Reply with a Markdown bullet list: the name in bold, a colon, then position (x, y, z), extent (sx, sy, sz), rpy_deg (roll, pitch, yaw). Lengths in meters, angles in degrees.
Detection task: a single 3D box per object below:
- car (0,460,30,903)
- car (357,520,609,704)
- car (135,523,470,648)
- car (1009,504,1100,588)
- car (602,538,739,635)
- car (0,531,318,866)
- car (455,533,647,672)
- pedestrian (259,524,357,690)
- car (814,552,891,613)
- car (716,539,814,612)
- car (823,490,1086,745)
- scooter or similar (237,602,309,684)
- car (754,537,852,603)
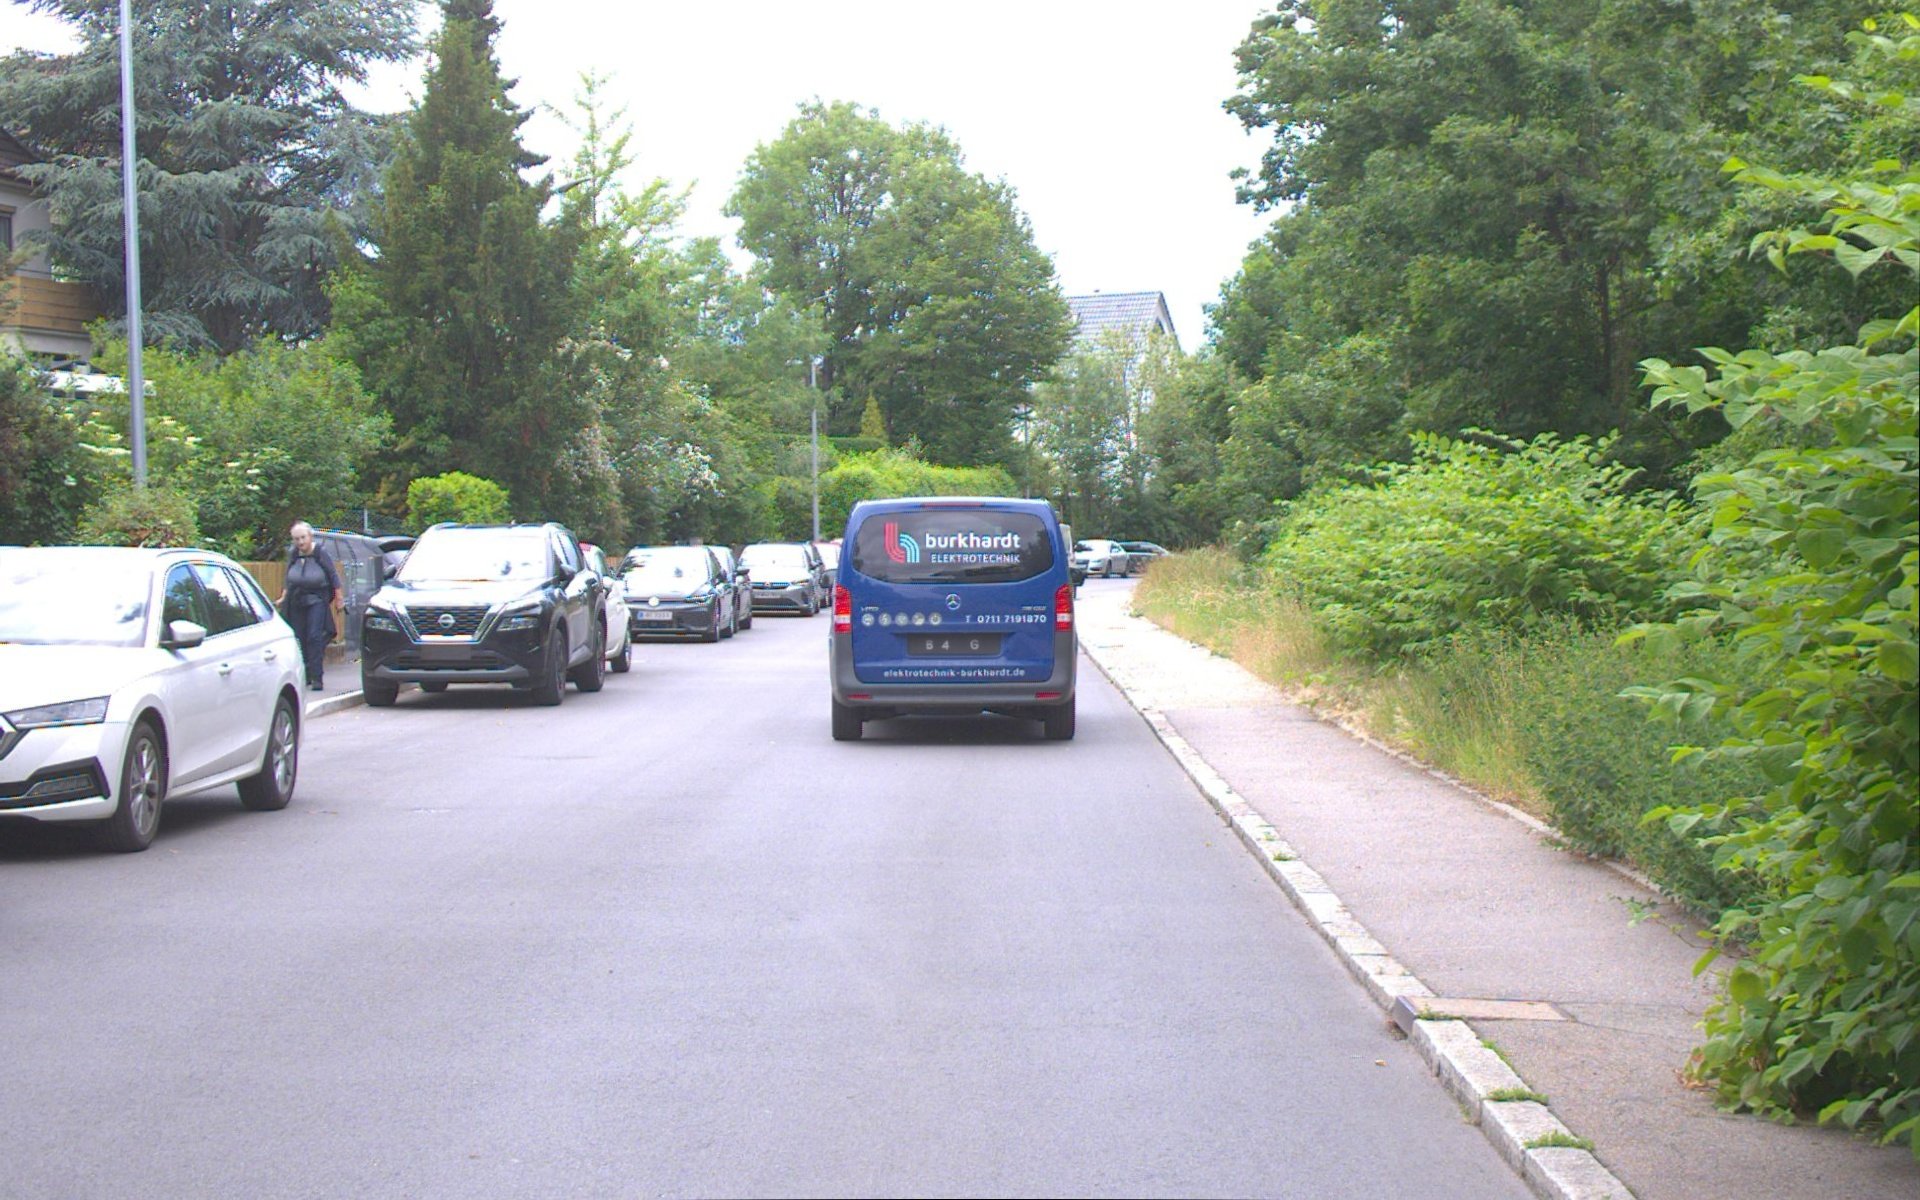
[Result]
- **car**: position (-4.783, 0.363, 12.210), extent (1.707, 1.793, 4.298), rpy_deg (0, 1, 1)
- **car**: position (-4.522, 0.065, 33.153), extent (1.791, 1.658, 4.392), rpy_deg (0, 1, 0)
- **car**: position (-8.777, -0.218, 45.981), extent (3.990, 1.542, 1.840), rpy_deg (1, 1, 15)
- **car**: position (2.406, -1.355, 87.059), extent (2.206, 2.056, 6.134), rpy_deg (0, 1, 2)
- **car**: position (-4.369, -0.238, 52.334), extent (1.707, 1.411, 4.150), rpy_deg (0, 1, 0)
- **car**: position (-4.692, 0.399, 17.802), extent (1.707, 1.506, 4.554), rpy_deg (0, 1, 2)
- **car**: position (-4.643, -0.008, 39.509), extent (1.707, 1.506, 3.946), rpy_deg (0, 1, 0)
- **pedestrian**: position (-6.256, 0.062, 33.003), extent (0.769, 1.569, 0.820), rpy_deg (0, 1, 2)
- **car**: position (-2.734, -0.468, 87.998), extent (1.544, 1.509, 3.643), rpy_deg (0, 1, 5)
- **car**: position (-3.912, -0.518, 69.362), extent (1.707, 1.405, 4.161), rpy_deg (0, 1, 0)
- **car**: position (-0.067, 0.080, 27.570), extent (1.936, 1.873, 4.531), rpy_deg (0, 1, -1)
- **scooter or similar**: position (-6.691, 0.413, 33.493), extent (0.571, 0.775, 0.712), rpy_deg (0, 1, -1)
- **car**: position (-3.638, -0.722, 80.289), extent (1.707, 1.509, 4.363), rpy_deg (0, 1, 5)
